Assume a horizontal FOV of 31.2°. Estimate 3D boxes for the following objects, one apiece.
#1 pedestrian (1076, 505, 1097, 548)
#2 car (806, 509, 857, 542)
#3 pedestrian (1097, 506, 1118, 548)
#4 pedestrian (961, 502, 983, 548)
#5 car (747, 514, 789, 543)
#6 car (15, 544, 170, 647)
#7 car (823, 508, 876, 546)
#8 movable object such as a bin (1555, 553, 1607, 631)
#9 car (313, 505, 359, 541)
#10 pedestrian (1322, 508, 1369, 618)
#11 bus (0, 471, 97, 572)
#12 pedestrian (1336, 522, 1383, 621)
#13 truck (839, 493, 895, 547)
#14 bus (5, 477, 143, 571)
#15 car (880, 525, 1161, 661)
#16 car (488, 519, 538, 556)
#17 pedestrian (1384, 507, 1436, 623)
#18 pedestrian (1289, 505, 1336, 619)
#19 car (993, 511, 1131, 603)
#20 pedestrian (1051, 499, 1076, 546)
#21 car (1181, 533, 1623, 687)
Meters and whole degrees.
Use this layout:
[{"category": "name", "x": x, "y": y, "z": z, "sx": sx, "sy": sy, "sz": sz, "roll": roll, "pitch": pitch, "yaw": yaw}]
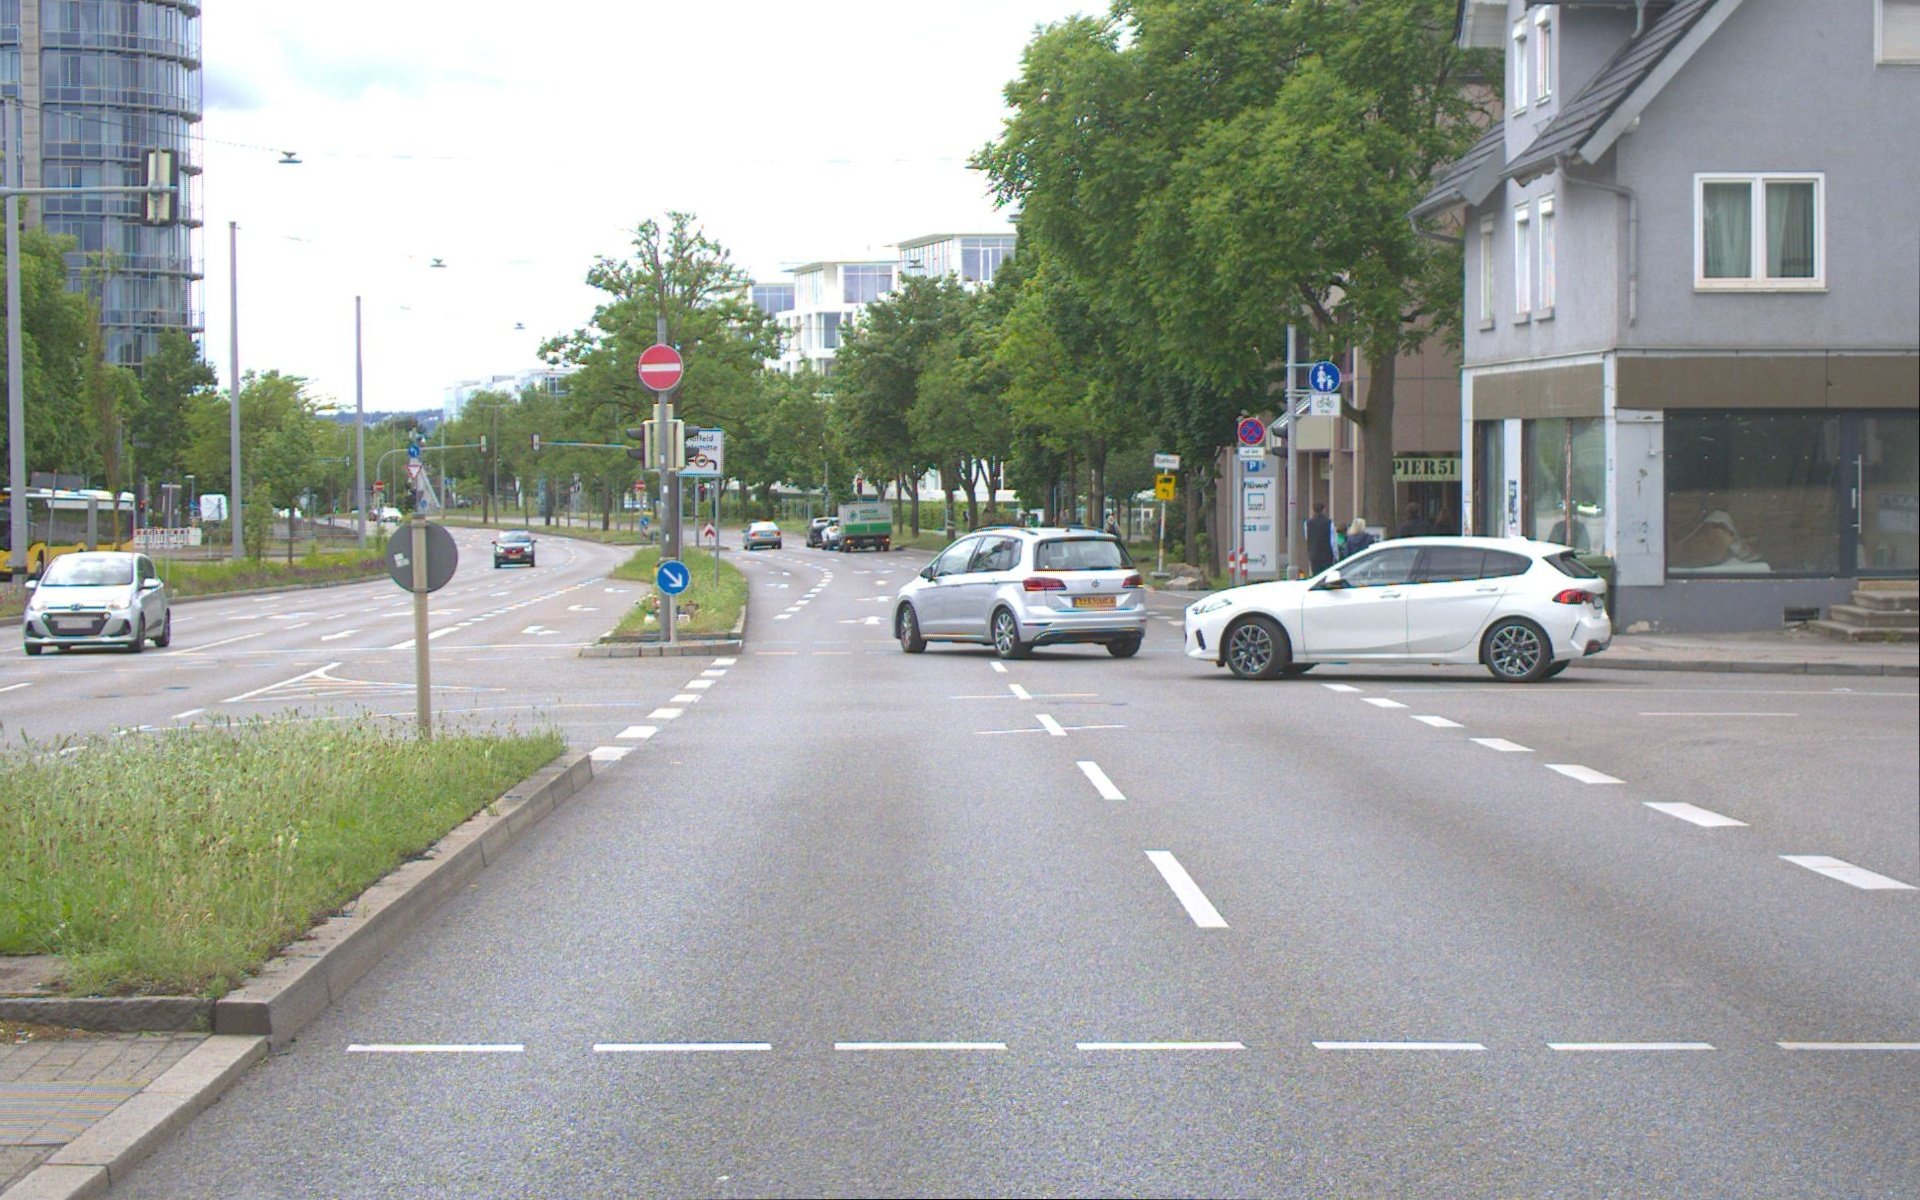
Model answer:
[{"category": "pedestrian", "x": 4.695, "y": -2.738, "z": 127.949, "sx": 0.650, "sy": 1.564, "sz": 0.671, "roll": -1, "pitch": 1, "yaw": -8}, {"category": "car", "x": -6.504, "y": -3.750, "z": 173.870, "sx": 2.250, "sy": 1.641, "sz": 4.934, "roll": -1, "pitch": 1, "yaw": -5}, {"category": "pedestrian", "x": 5.485, "y": -2.727, "z": 128.000, "sx": 0.650, "sy": 1.564, "sz": 0.671, "roll": -1, "pitch": 1, "yaw": -8}, {"category": "pedestrian", "x": 0.595, "y": -3.831, "z": 175.216, "sx": 0.930, "sy": 2.300, "sz": 1.011, "roll": 1, "pitch": 0, "yaw": -10}, {"category": "car", "x": -9.689, "y": -3.604, "z": 173.162, "sx": 1.967, "sy": 1.415, "sz": 4.023, "roll": -1, "pitch": 1, "yaw": -5}, {"category": "car", "x": -12.808, "y": -0.093, "z": 50.935, "sx": 1.684, "sy": 1.457, "sz": 3.556, "roll": -1, "pitch": 1, "yaw": -5}, {"category": "car", "x": -5.308, "y": -3.485, "z": 165.076, "sx": 2.251, "sy": 1.751, "sz": 4.934, "roll": -1, "pitch": 1, "yaw": -5}, {"category": "movable object such as a bin", "x": 7.956, "y": -0.104, "z": 44.059, "sx": 0.529, "sy": 0.976, "sz": 0.736, "roll": -1, "pitch": 1, "yaw": -1}, {"category": "car", "x": -36.330, "y": -4.475, "z": 200.273, "sx": 1.965, "sy": 2.007, "sz": 4.000, "roll": 1, "pitch": 1, "yaw": -1}, {"category": "pedestrian", "x": 6.318, "y": -0.607, "z": 56.365, "sx": 0.705, "sy": 1.773, "sz": 0.870, "roll": -1, "pitch": 1, "yaw": 9}, {"category": "bus", "x": -31.397, "y": -2.575, "z": 114.476, "sx": 3.144, "sy": 3.214, "sz": 10.286, "roll": -1, "pitch": 1, "yaw": -3}, {"category": "pedestrian", "x": 6.153, "y": -0.444, "z": 53.004, "sx": 0.705, "sy": 1.502, "sz": 0.870, "roll": -1, "pitch": 1, "yaw": 6}, {"category": "truck", "x": -4.263, "y": -3.652, "z": 156.478, "sx": 2.251, "sy": 2.408, "sz": 4.934, "roll": 0, "pitch": 1, "yaw": -5}, {"category": "bus", "x": -31.735, "y": -2.717, "z": 123.480, "sx": 3.144, "sy": 3.214, "sz": 7.766, "roll": -1, "pitch": 1, "yaw": -2}, {"category": "car", "x": 0.682, "y": -0.119, "z": 42.228, "sx": 1.822, "sy": 1.535, "sz": 4.115, "roll": 1, "pitch": 1, "yaw": -24}, {"category": "car", "x": -18.636, "y": -2.609, "z": 143.456, "sx": 1.702, "sy": 1.487, "sz": 3.562, "roll": -1, "pitch": 1, "yaw": -2}, {"category": "pedestrian", "x": 6.883, "y": -0.541, "z": 52.614, "sx": 0.705, "sy": 1.754, "sz": 1.052, "roll": -1, "pitch": 1, "yaw": 3}, {"category": "pedestrian", "x": 5.510, "y": -0.597, "z": 53.773, "sx": 0.705, "sy": 1.773, "sz": 0.870, "roll": -1, "pitch": 1, "yaw": 5}, {"category": "car", "x": 1.710, "y": -0.737, "z": 58.941, "sx": 1.889, "sy": 1.489, "sz": 4.099, "roll": -1, "pitch": 1, "yaw": -5}, {"category": "pedestrian", "x": 4.423, "y": -3.299, "z": 146.639, "sx": 0.971, "sy": 2.007, "sz": 0.981, "roll": 1, "pitch": 0, "yaw": -1}, {"category": "car", "x": 4.599, "y": 0.074, "z": 35.605, "sx": 4.245, "sy": 1.472, "sz": 1.998, "roll": 1, "pitch": 1, "yaw": 17}]
